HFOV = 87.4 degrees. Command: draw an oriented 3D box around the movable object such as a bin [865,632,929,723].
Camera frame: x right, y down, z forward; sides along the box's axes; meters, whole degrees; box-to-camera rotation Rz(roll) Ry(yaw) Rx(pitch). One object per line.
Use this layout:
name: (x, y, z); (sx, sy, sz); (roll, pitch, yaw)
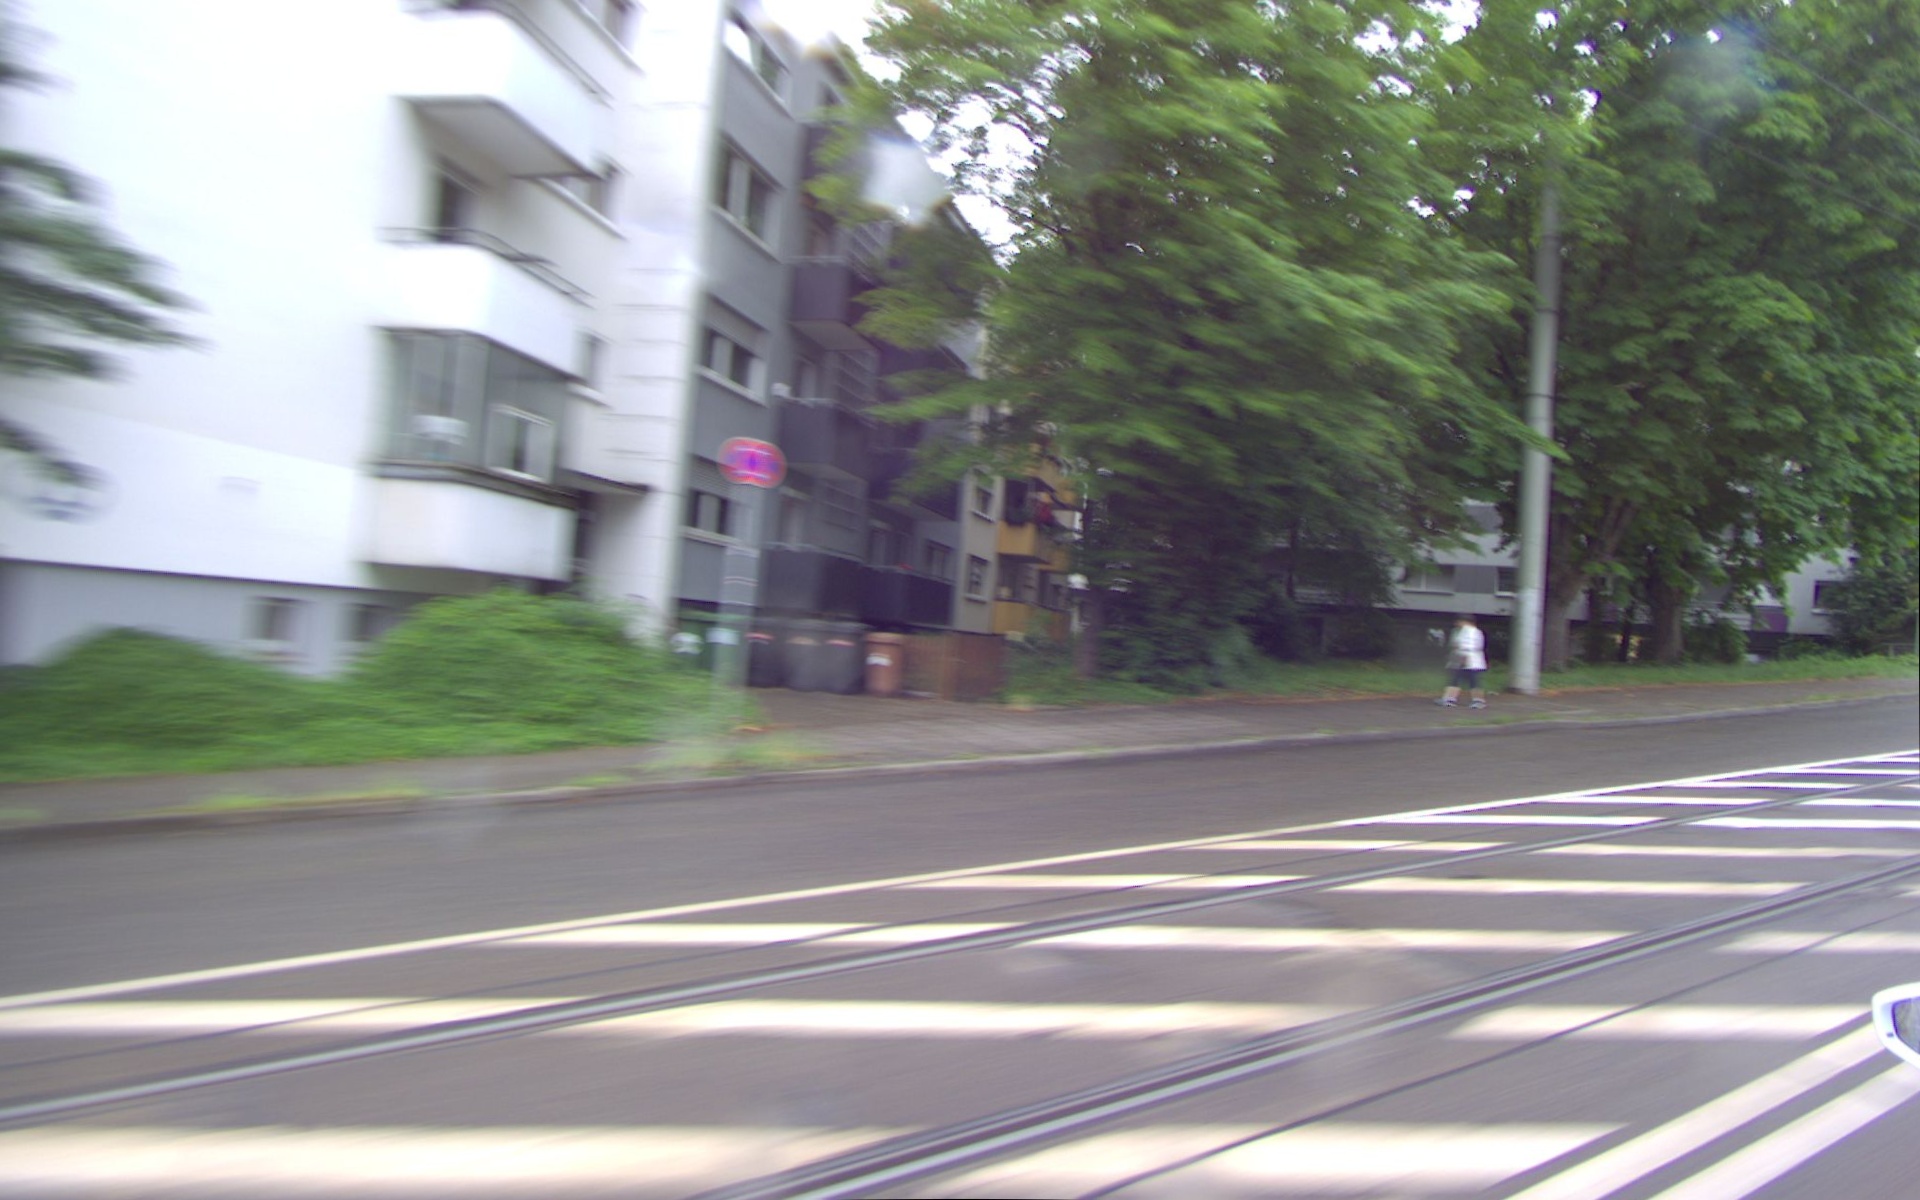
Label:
movable object such as a bin: (-0.920, 1.129, 14.796); (0.654, 1.249, 0.627); (4, -2, 18)

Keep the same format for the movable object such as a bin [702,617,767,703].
movable object such as a bin: (-3.479, 0.925, 15.547); (0.654, 1.249, 0.627); (4, -2, 18)

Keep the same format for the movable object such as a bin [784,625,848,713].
movable object such as a bin: (-2.160, 1.029, 15.126); (0.654, 1.249, 0.627); (4, -2, 18)

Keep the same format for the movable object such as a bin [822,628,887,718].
movable object such as a bin: (-1.561, 1.076, 14.932); (0.654, 1.249, 0.627); (4, -2, 18)

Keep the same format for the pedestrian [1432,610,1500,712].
pedestrian: (8.438, 1.012, 16.740); (0.860, 1.621, 0.579); (2, 2, -34)

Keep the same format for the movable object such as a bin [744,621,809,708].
movable object such as a bin: (-2.799, 0.979, 15.331); (0.654, 1.249, 0.627); (4, -2, 18)

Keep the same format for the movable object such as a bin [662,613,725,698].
movable object such as a bin: (-4.171, 0.870, 15.736); (0.614, 1.249, 0.627); (4, -2, 18)
